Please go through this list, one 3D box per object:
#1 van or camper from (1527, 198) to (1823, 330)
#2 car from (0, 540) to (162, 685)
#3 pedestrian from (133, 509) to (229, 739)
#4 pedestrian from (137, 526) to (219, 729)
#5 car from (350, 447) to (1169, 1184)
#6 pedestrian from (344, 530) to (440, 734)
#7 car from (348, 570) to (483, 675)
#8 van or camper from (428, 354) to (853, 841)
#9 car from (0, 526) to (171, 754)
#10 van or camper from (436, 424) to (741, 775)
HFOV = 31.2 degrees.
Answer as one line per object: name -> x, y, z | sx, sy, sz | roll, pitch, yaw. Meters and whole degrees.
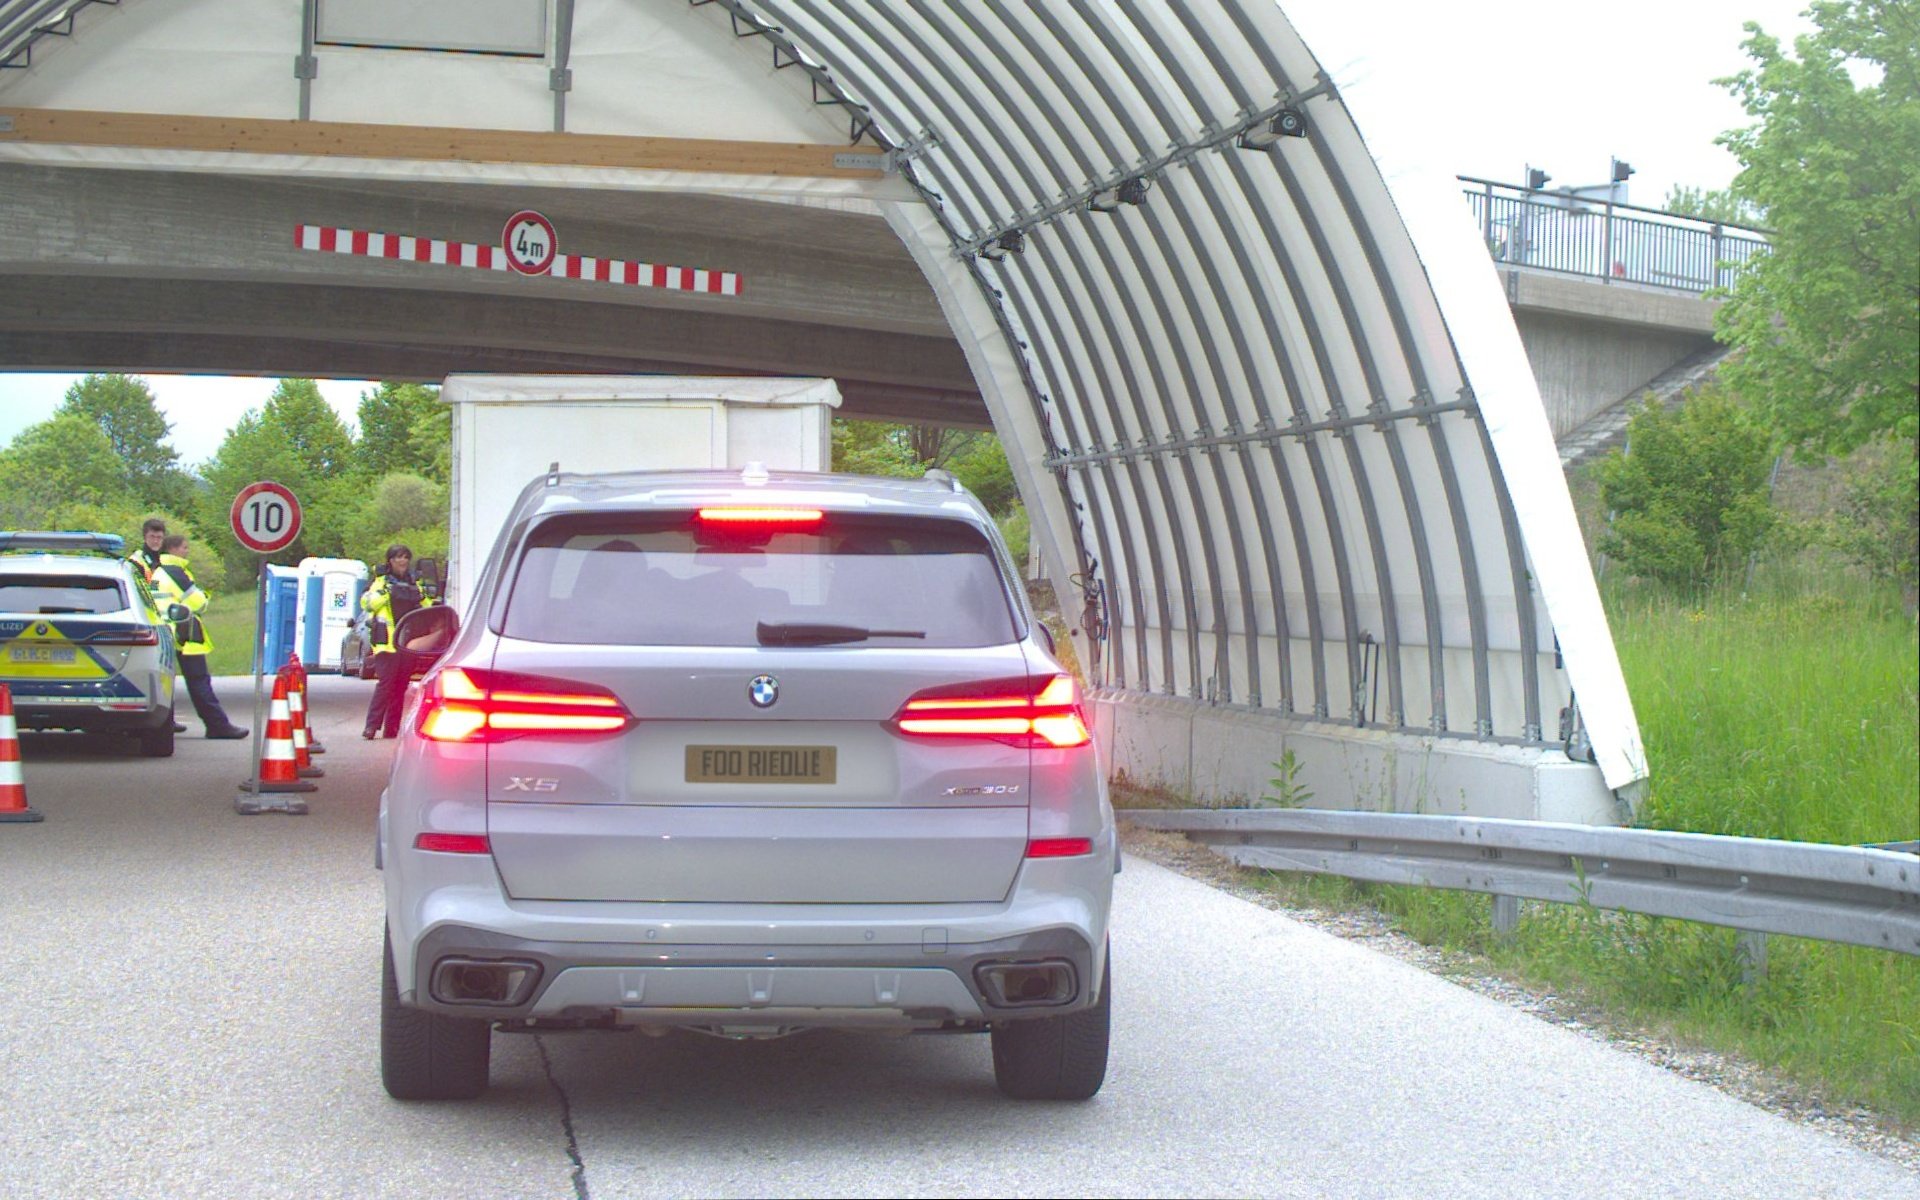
van or camper -> 12.250, -5.693, 58.688 | 5.436, 1.764, 1.896 | 0, 1, -39
car -> -14.004, 0.160, 48.937 | 4.807, 2.007, 1.840 | 0, 0, 7
pedestrian -> -6.559, 0.194, 28.934 | 0.749, 1.912, 0.763 | 0, 0, -15
pedestrian -> -6.816, 0.237, 29.991 | 0.609, 1.748, 0.666 | 0, 0, -6
car -> -0.788, 0.496, 10.341 | 1.993, 1.759, 4.001 | 0, 0, -9
pedestrian -> -4.856, 0.266, 29.352 | 0.754, 1.716, 0.782 | 0, 0, -13
car -> -9.277, 0.352, 58.398 | 1.993, 1.716, 3.897 | 0, 0, -13
van or camper -> -2.175, -0.039, 21.403 | 2.229, 2.543, 6.612 | 0, 0, -9
car -> -7.162, 0.278, 26.749 | 1.877, 1.641, 4.001 | 0, 0, -15
van or camper -> -3.083, -0.027, 27.479 | 2.103, 2.510, 5.552 | 0, 0, -9
